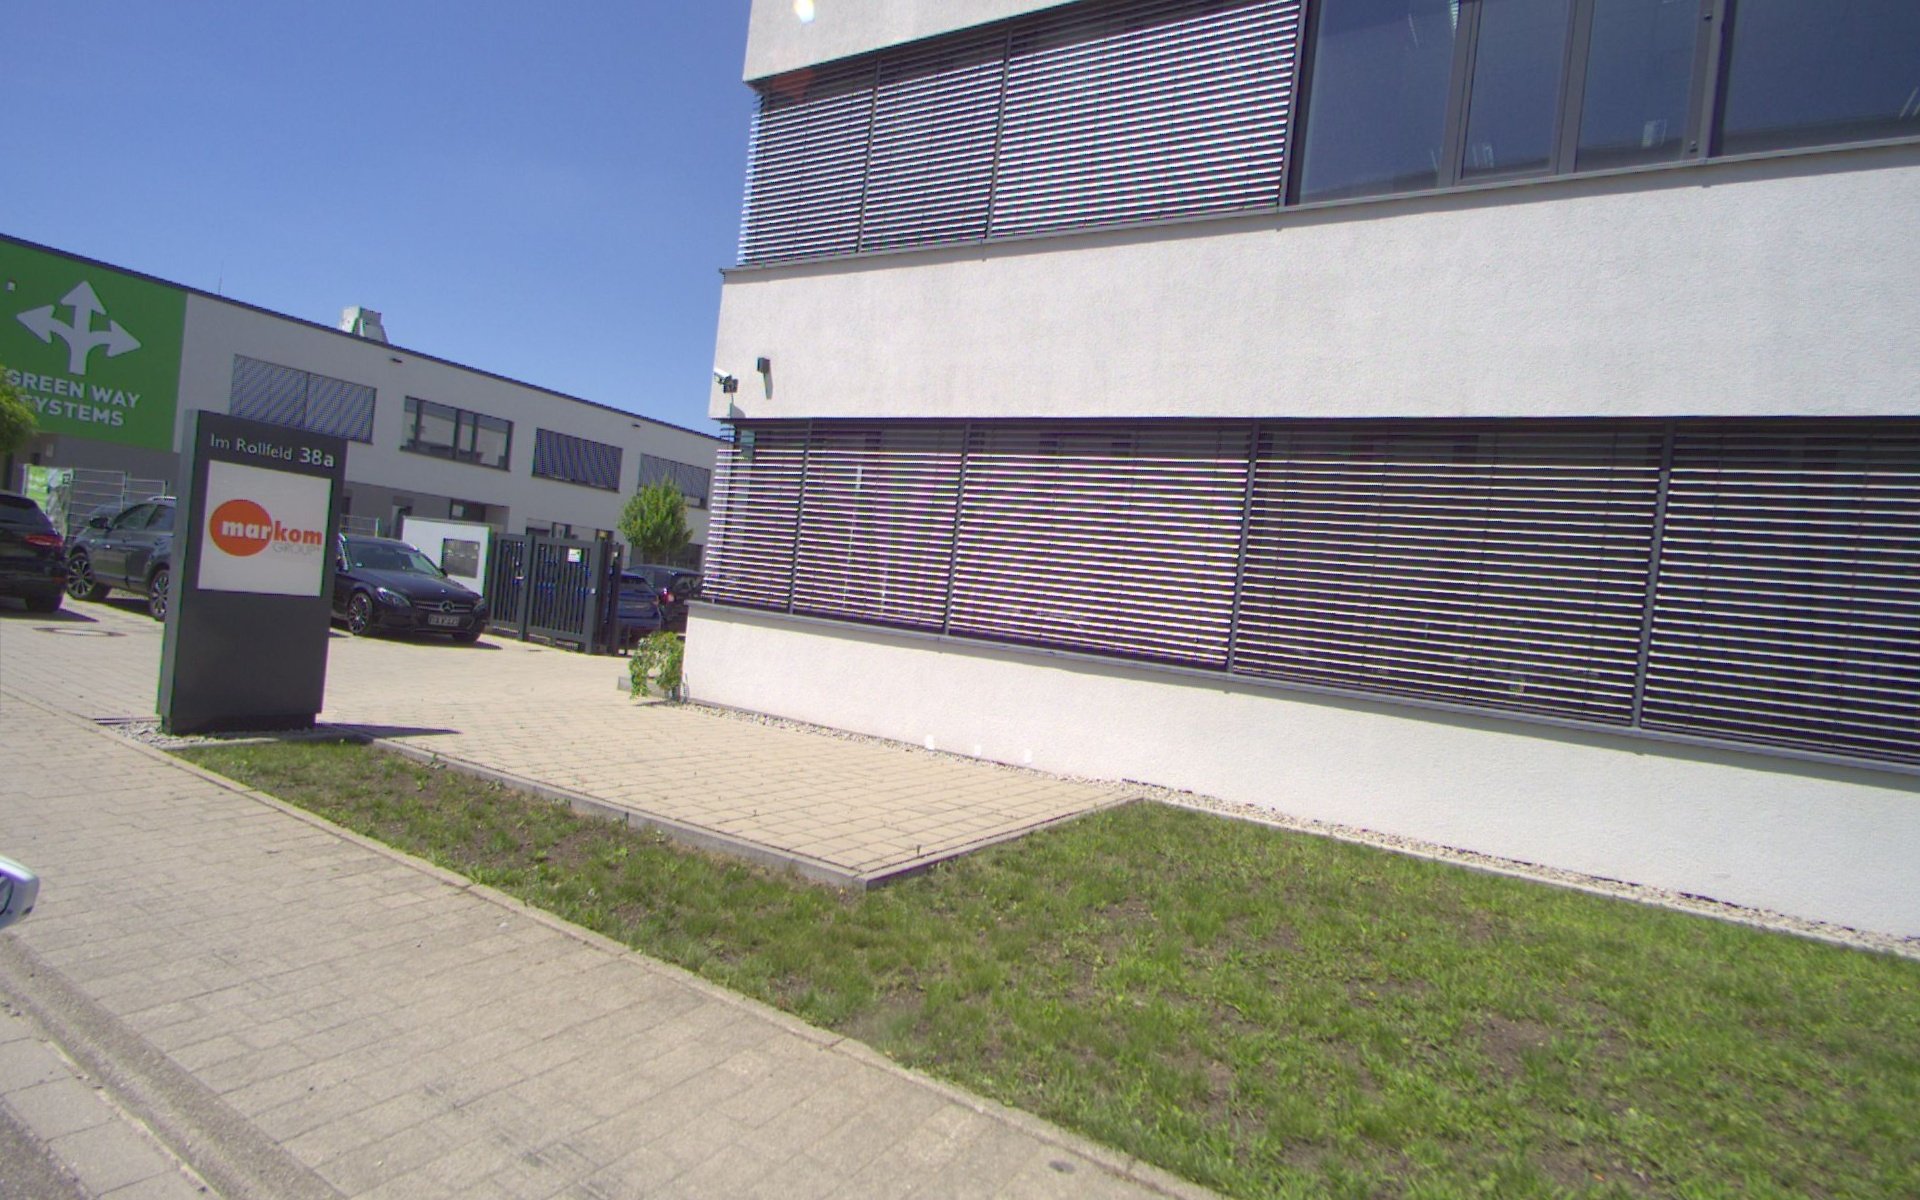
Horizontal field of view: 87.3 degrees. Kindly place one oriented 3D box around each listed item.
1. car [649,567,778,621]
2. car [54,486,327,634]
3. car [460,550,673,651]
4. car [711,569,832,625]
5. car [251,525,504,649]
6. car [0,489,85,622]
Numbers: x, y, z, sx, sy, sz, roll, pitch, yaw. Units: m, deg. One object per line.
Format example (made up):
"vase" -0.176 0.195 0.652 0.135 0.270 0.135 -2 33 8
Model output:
"car" -8.174 -0.201 33.298 3.988 1.448 1.740 4 -1 31
"car" -11.123 -0.598 14.490 3.956 1.653 1.725 6 -1 32
"car" -7.674 -0.003 19.525 3.956 1.453 1.725 6 -1 32
"car" -6.737 -0.115 35.895 3.988 1.624 1.740 4 -1 31
"car" -9.299 -0.229 15.990 3.956 1.467 1.725 6 -1 32
"car" -12.607 -0.728 12.251 4.176 1.445 1.694 6 -1 32
